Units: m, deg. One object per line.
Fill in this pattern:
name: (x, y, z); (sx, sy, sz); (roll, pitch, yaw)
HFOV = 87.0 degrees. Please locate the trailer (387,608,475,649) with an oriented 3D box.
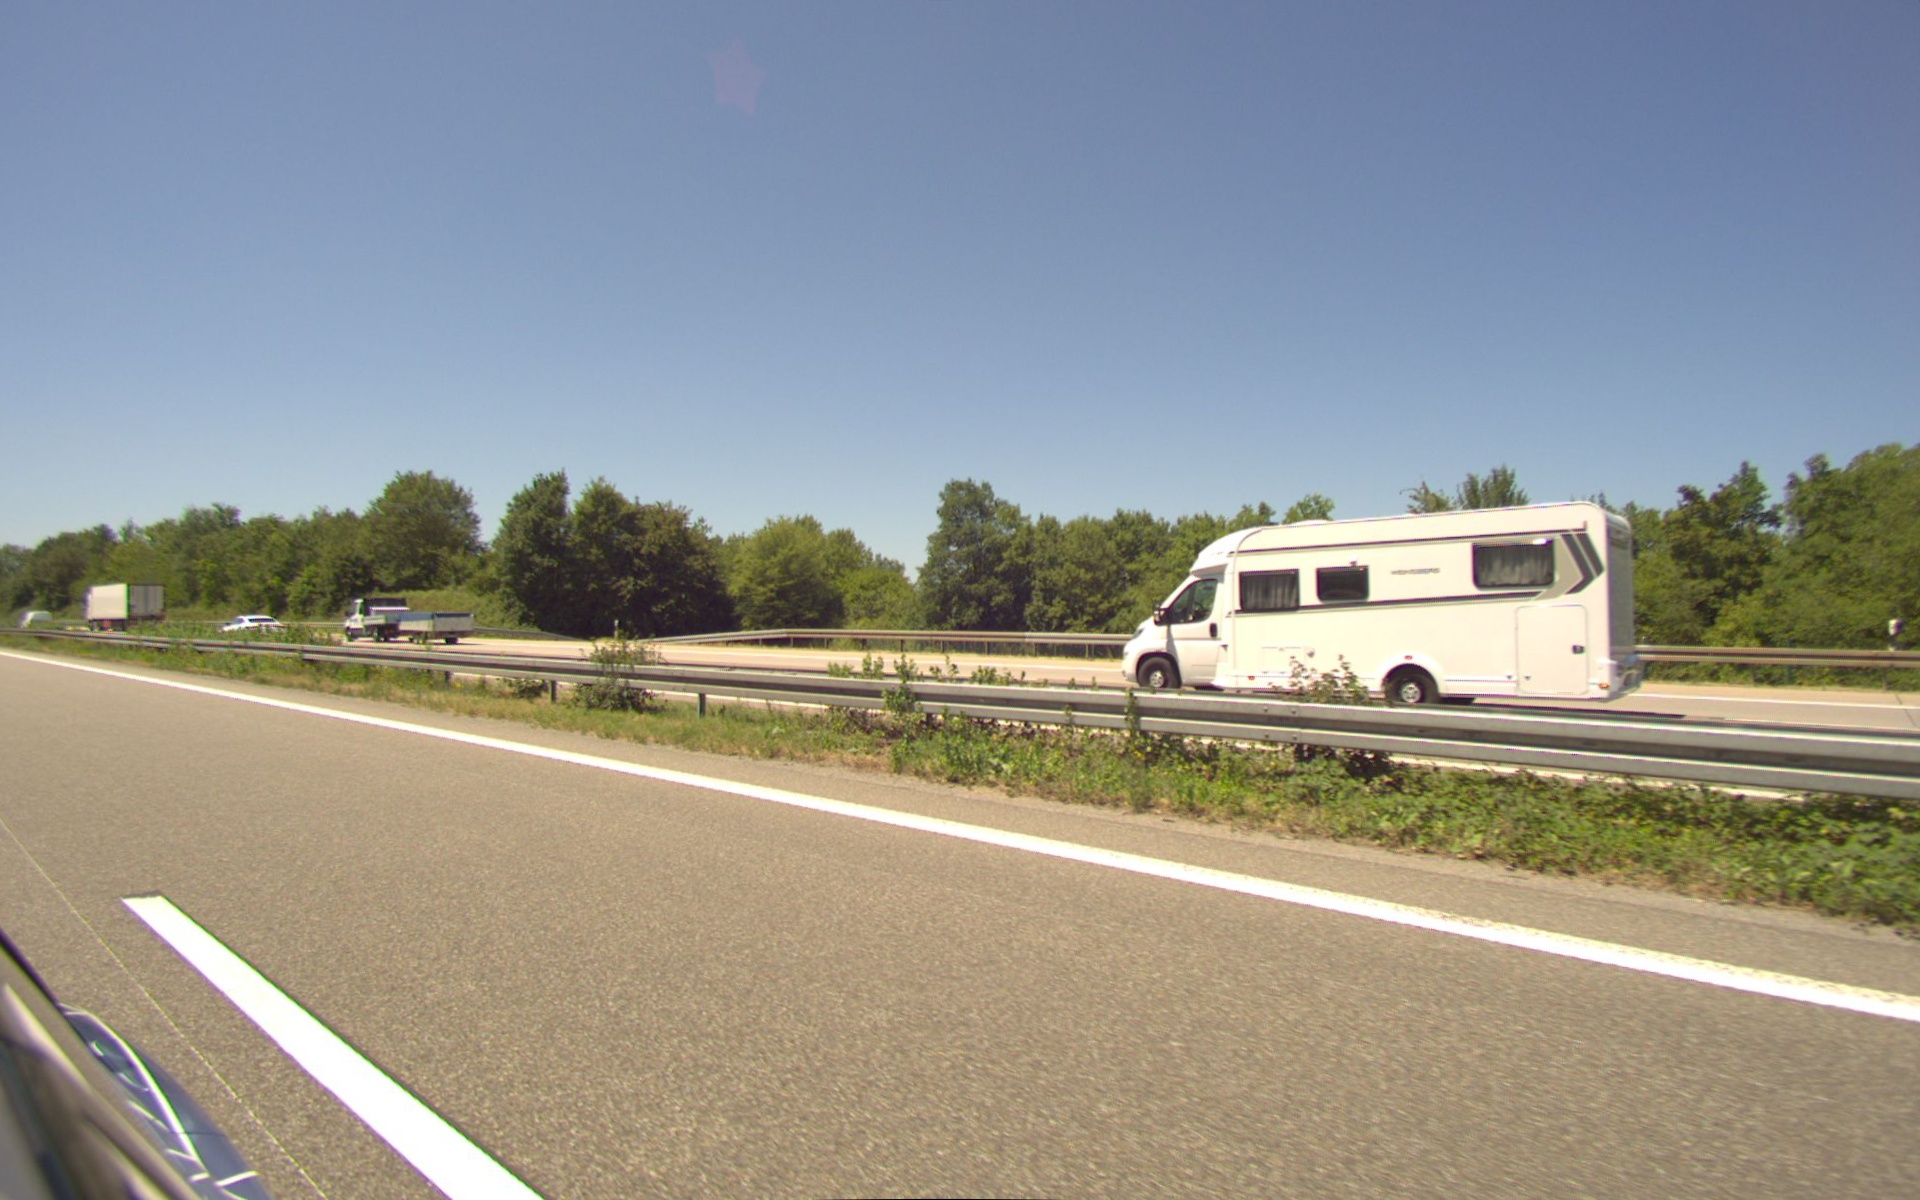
trailer: (-25.060, 1.321, 47.881); (4.986, 1.850, 2.007); (-1, -1, 41)

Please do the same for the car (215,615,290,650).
car: (-33.819, 1.525, 48.313); (5.007, 1.608, 1.793); (-1, -1, 41)

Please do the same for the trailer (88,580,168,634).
trailer: (-73.422, 0.691, 89.172); (13.580, 4.395, 3.277); (-1, -1, 41)

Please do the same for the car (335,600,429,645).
car: (-29.704, 1.147, 51.897); (6.538, 2.189, 2.220); (-1, -1, 41)

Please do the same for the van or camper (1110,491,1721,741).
van or camper: (6.336, 0.245, 15.258); (8.024, 2.871, 2.486); (-1, -1, 42)

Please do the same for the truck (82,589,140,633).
truck: (-78.692, 1.014, 93.787); (6.097, 3.981, 3.227); (-1, -1, 41)

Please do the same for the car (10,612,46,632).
car: (-87.313, 2.049, 94.802); (4.874, 1.890, 1.797); (-1, -1, 40)
